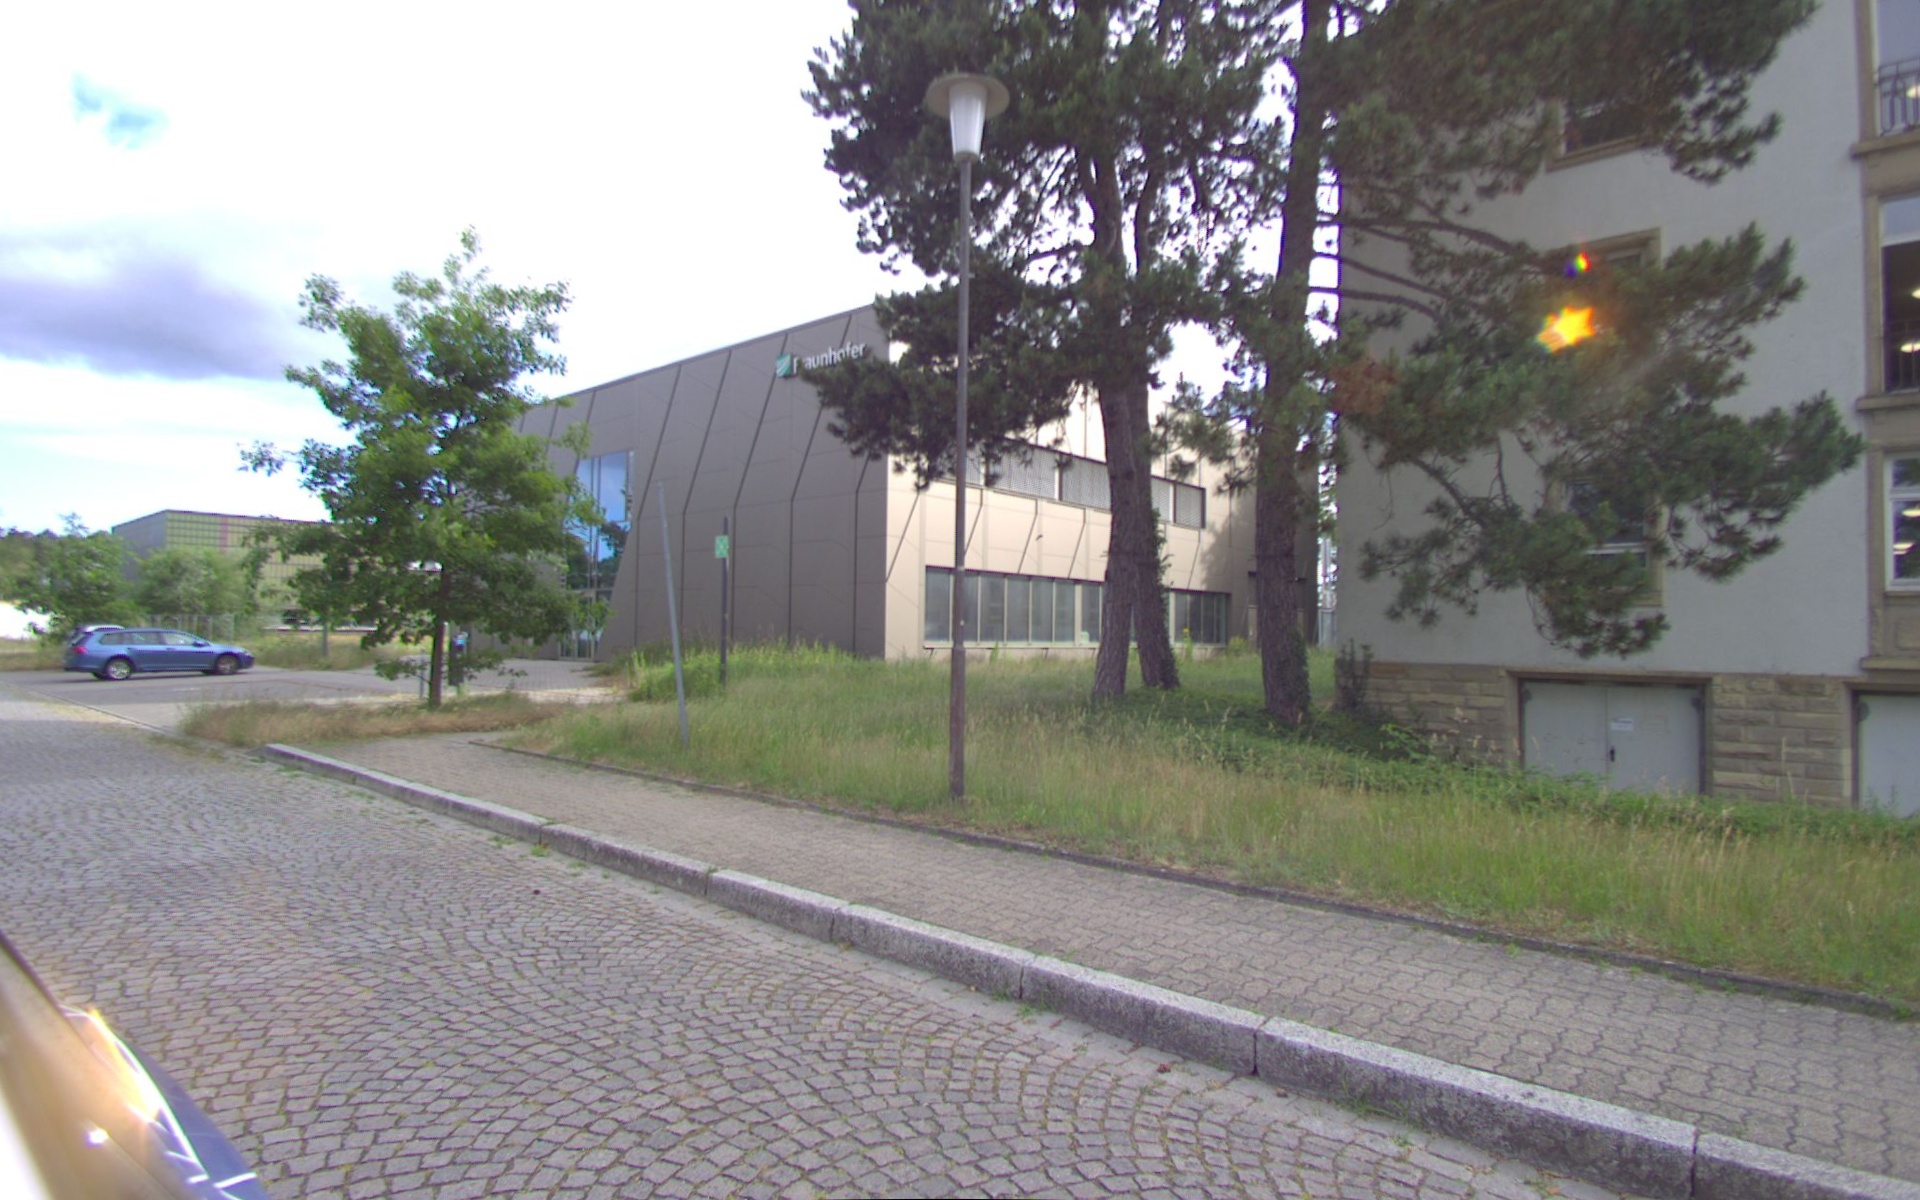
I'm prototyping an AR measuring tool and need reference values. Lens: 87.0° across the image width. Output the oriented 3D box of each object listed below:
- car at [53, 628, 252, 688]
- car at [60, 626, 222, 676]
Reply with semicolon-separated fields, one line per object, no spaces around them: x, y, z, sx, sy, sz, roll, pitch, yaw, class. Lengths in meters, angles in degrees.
-23.807;1.648;29.975;1.715;1.522;4.350;-1;0;38;car
-28.678;1.738;35.521;4.339;1.557;1.843;0;-1;-43;car
